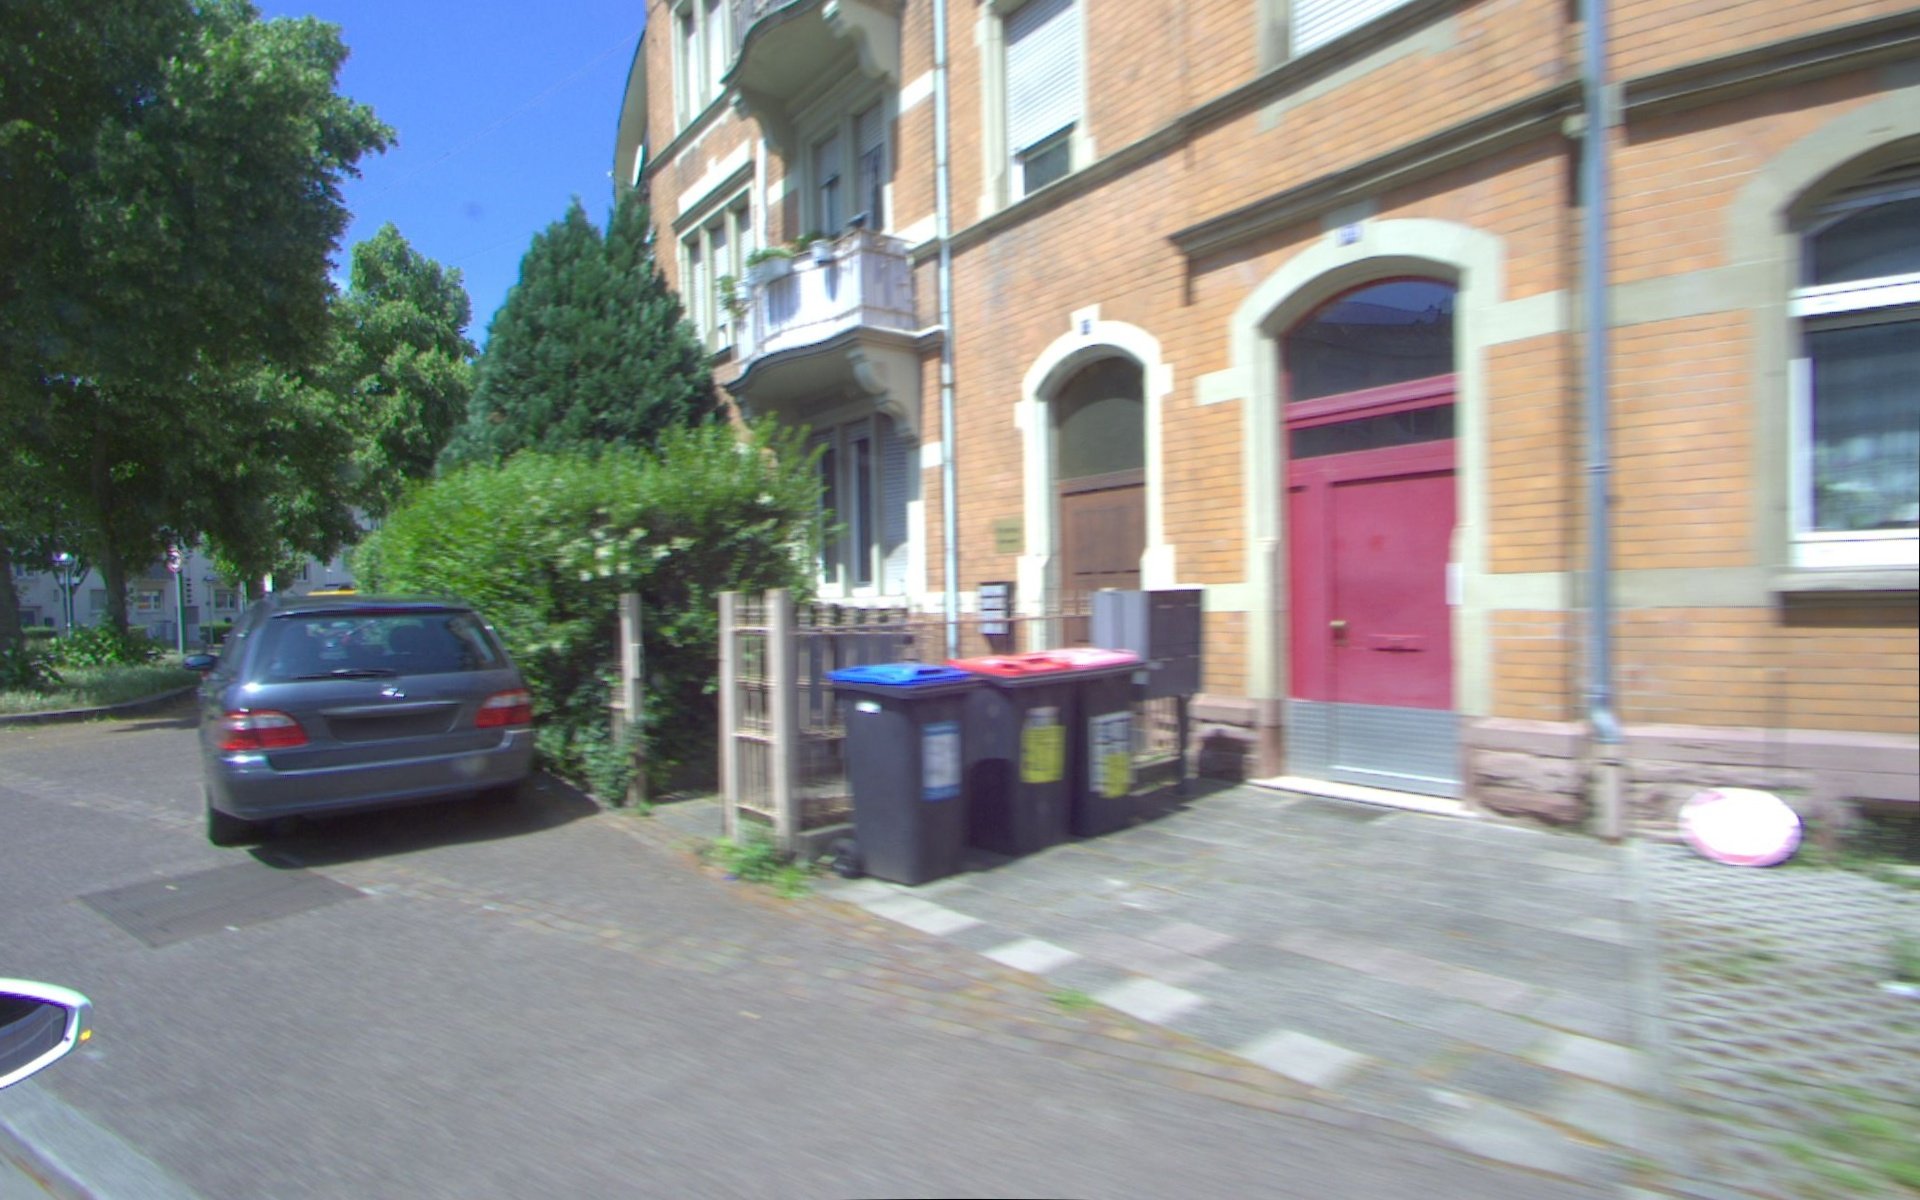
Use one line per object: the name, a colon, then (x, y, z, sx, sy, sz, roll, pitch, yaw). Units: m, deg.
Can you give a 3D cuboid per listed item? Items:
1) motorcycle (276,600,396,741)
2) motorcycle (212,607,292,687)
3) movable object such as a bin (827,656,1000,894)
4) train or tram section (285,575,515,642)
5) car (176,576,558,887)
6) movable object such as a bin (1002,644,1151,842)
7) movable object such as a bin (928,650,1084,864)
motorcycle: (-6.836, 0.688, 10.908, 0.921, 1.320, 2.264, -2, 2, -36)
motorcycle: (-12.590, 0.811, 17.880, 0.905, 1.330, 2.214, 0, -1, -28)
movable object such as a bin: (-0.239, 0.855, 5.204, 0.630, 1.085, 0.646, 0, 1, 42)
train or tram section: (-33.268, 0.498, 60.768, 2.768, 3.615, 14.158, -1, 0, 17)
car: (-4.751, 0.620, 7.630, 1.818, 1.569, 5.115, -2, 2, -37)
movable object such as a bin: (0.708, 0.826, 6.098, 0.697, 1.085, 0.572, 0, 1, 42)
movable object such as a bin: (0.258, 0.846, 5.691, 0.697, 1.085, 0.549, 0, 1, 42)
